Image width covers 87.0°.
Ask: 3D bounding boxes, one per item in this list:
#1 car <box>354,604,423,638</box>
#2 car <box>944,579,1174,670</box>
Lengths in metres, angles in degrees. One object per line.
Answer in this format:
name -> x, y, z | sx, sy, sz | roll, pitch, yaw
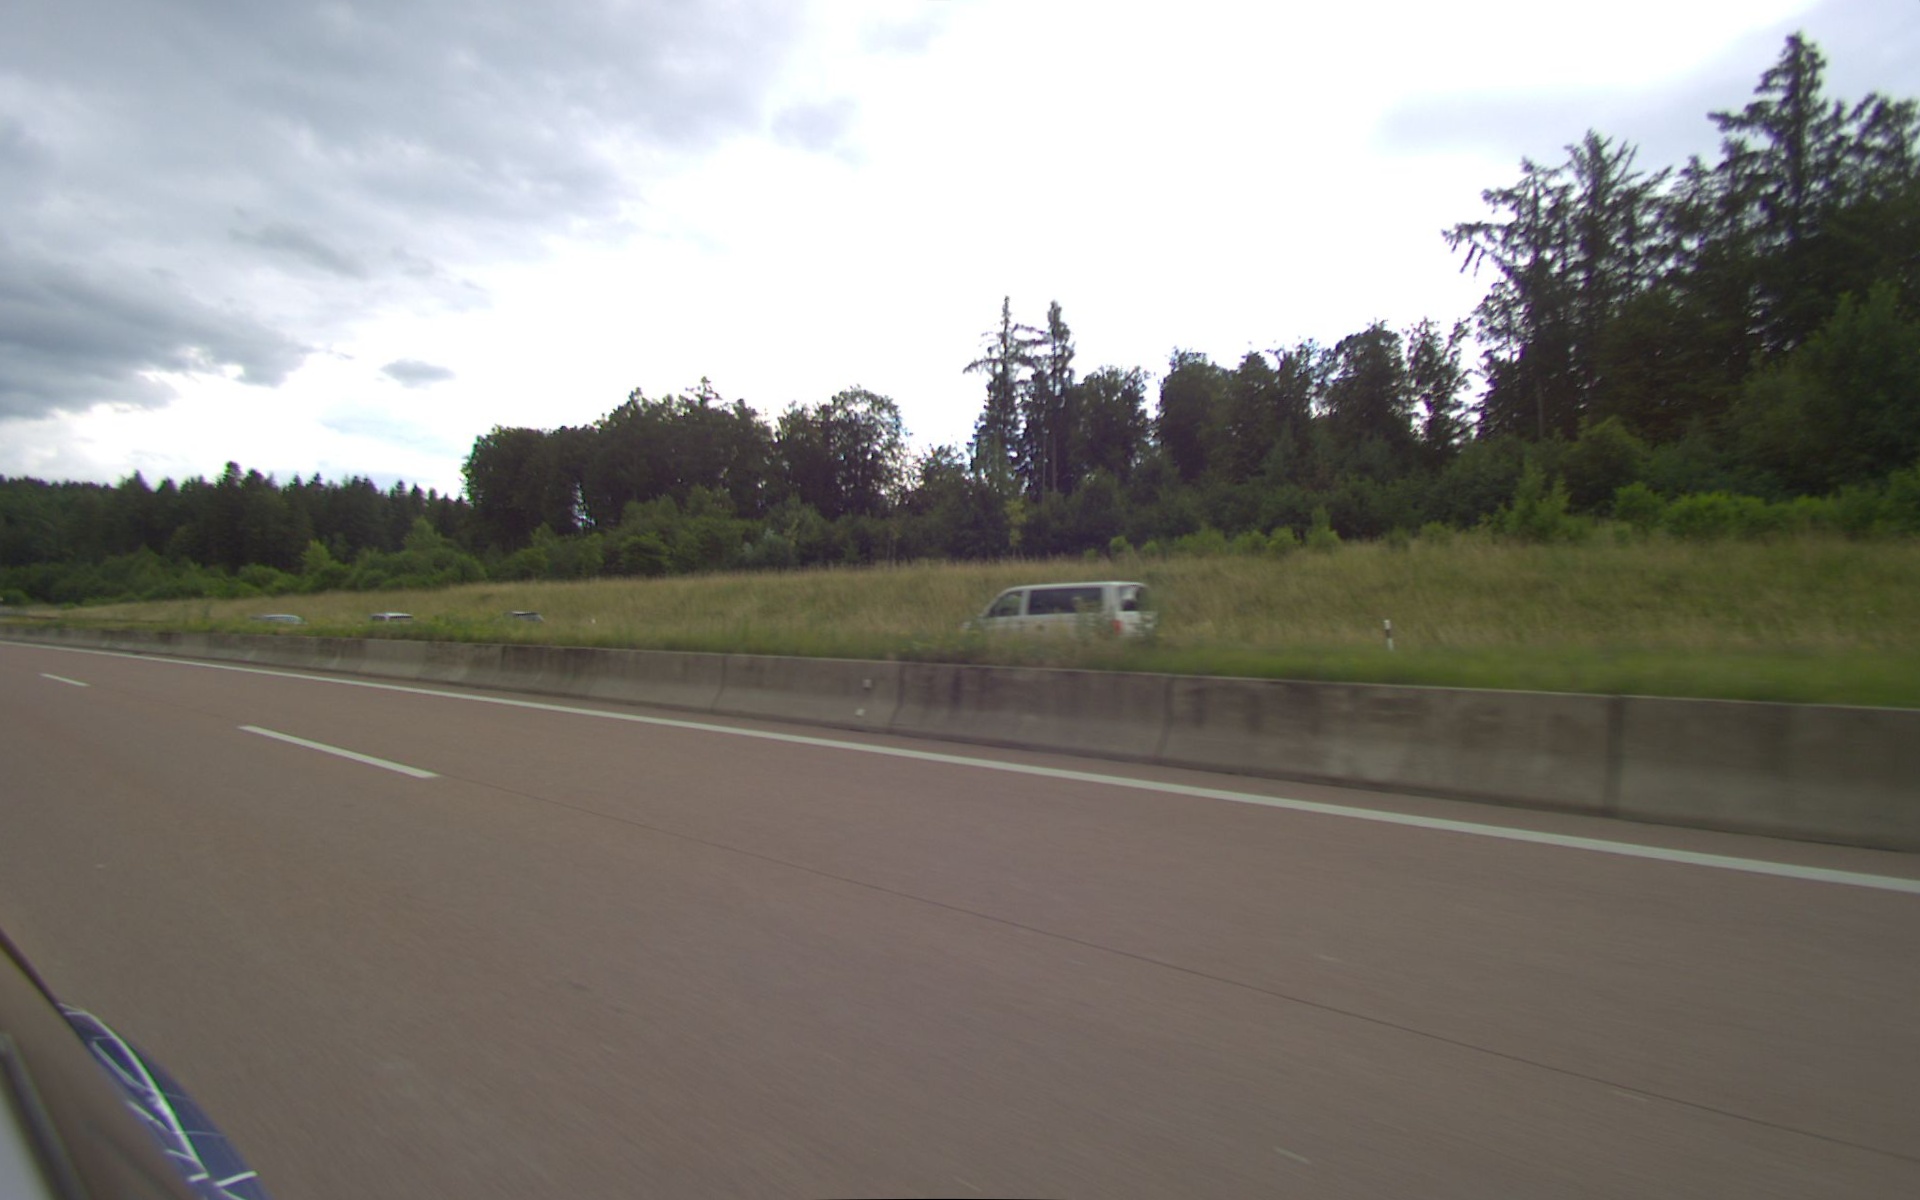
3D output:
car -> -26.613, 0.947, 47.083 | 3.802, 1.427, 1.580 | 1, 1, 40
car -> 2.179, 0.533, 23.397 | 5.149, 1.889, 1.898 | -1, 0, 41
